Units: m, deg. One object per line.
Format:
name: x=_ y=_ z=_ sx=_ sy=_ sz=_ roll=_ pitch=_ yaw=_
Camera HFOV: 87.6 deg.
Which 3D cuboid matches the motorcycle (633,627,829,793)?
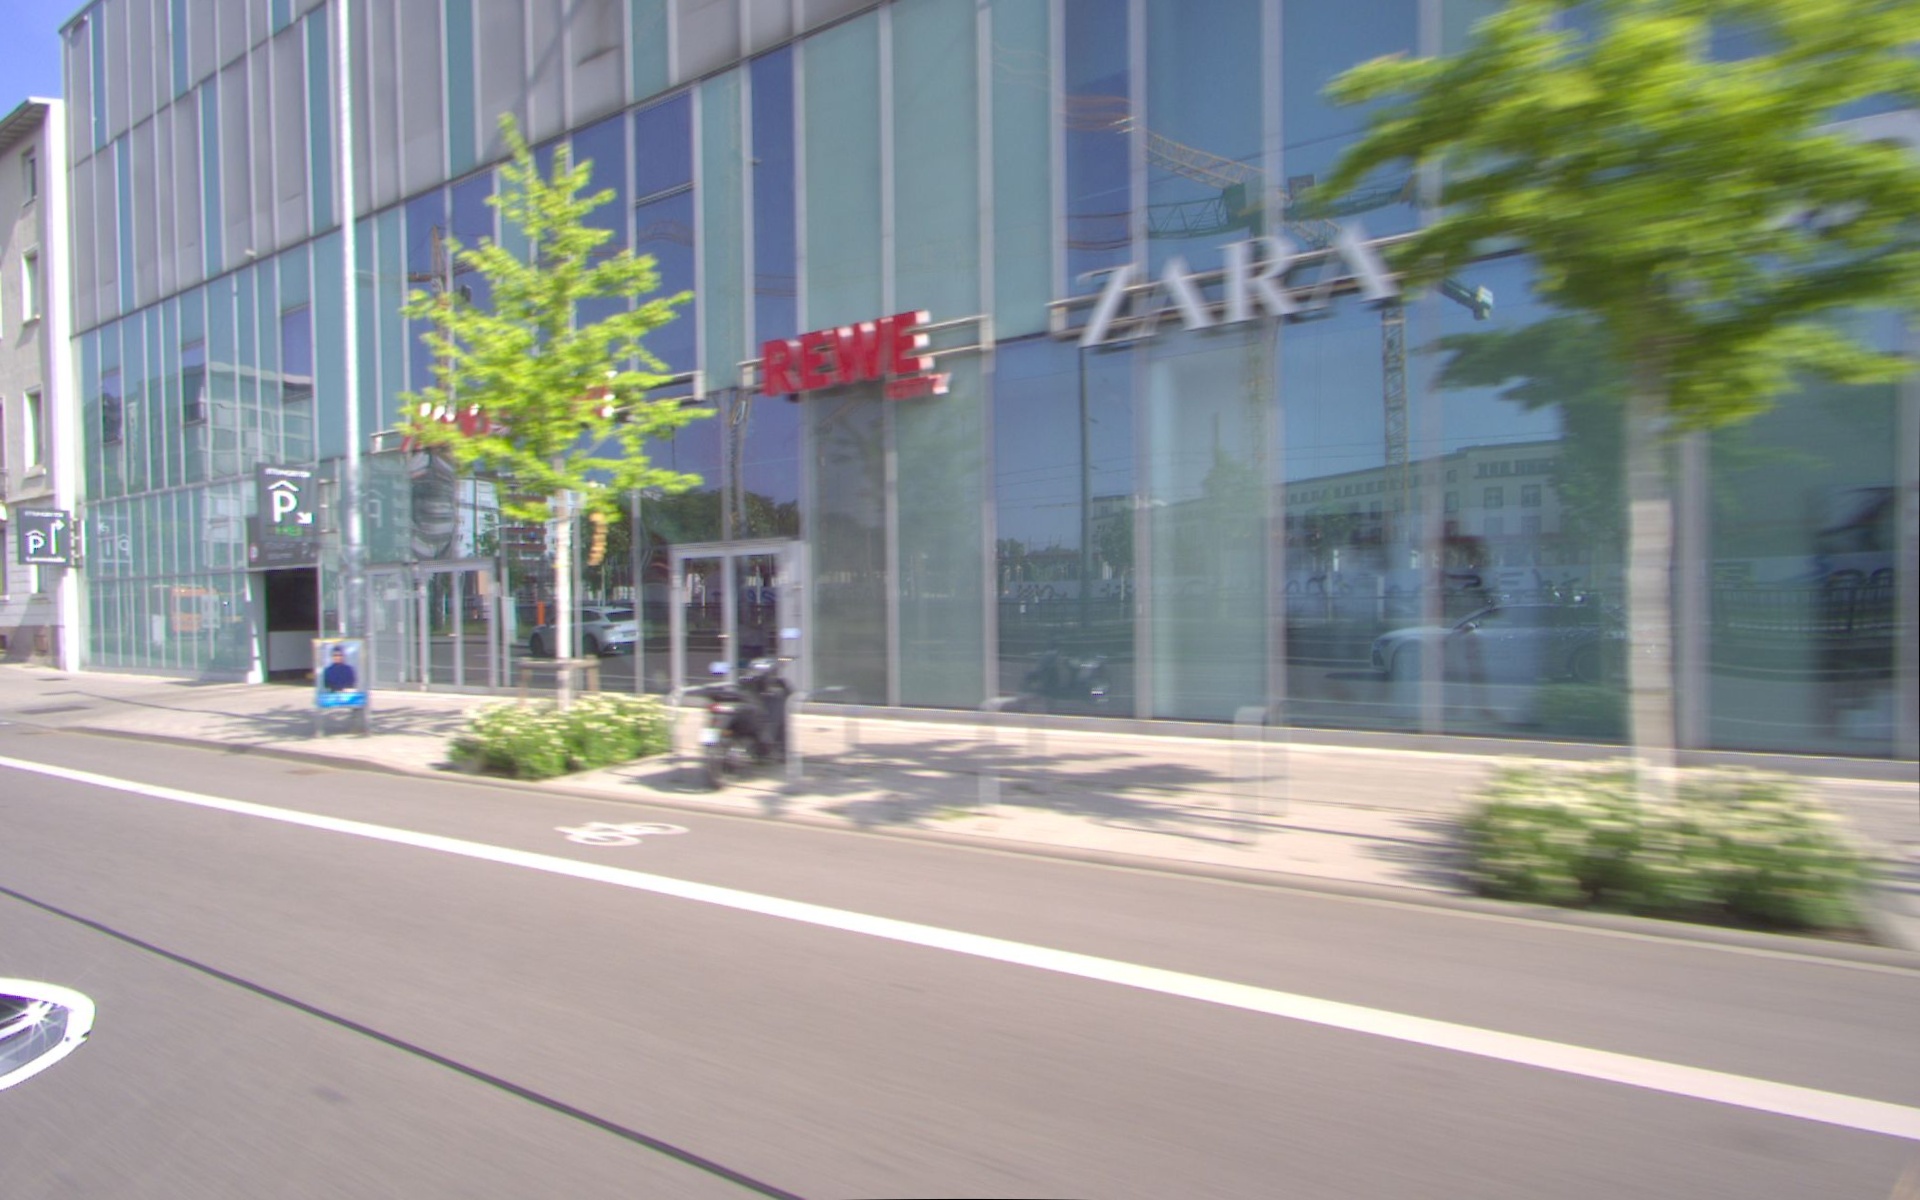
motorcycle: x=-2.117 y=0.969 z=9.593 sx=0.853 sy=1.367 sz=1.970 roll=-1 pitch=0 yaw=22
